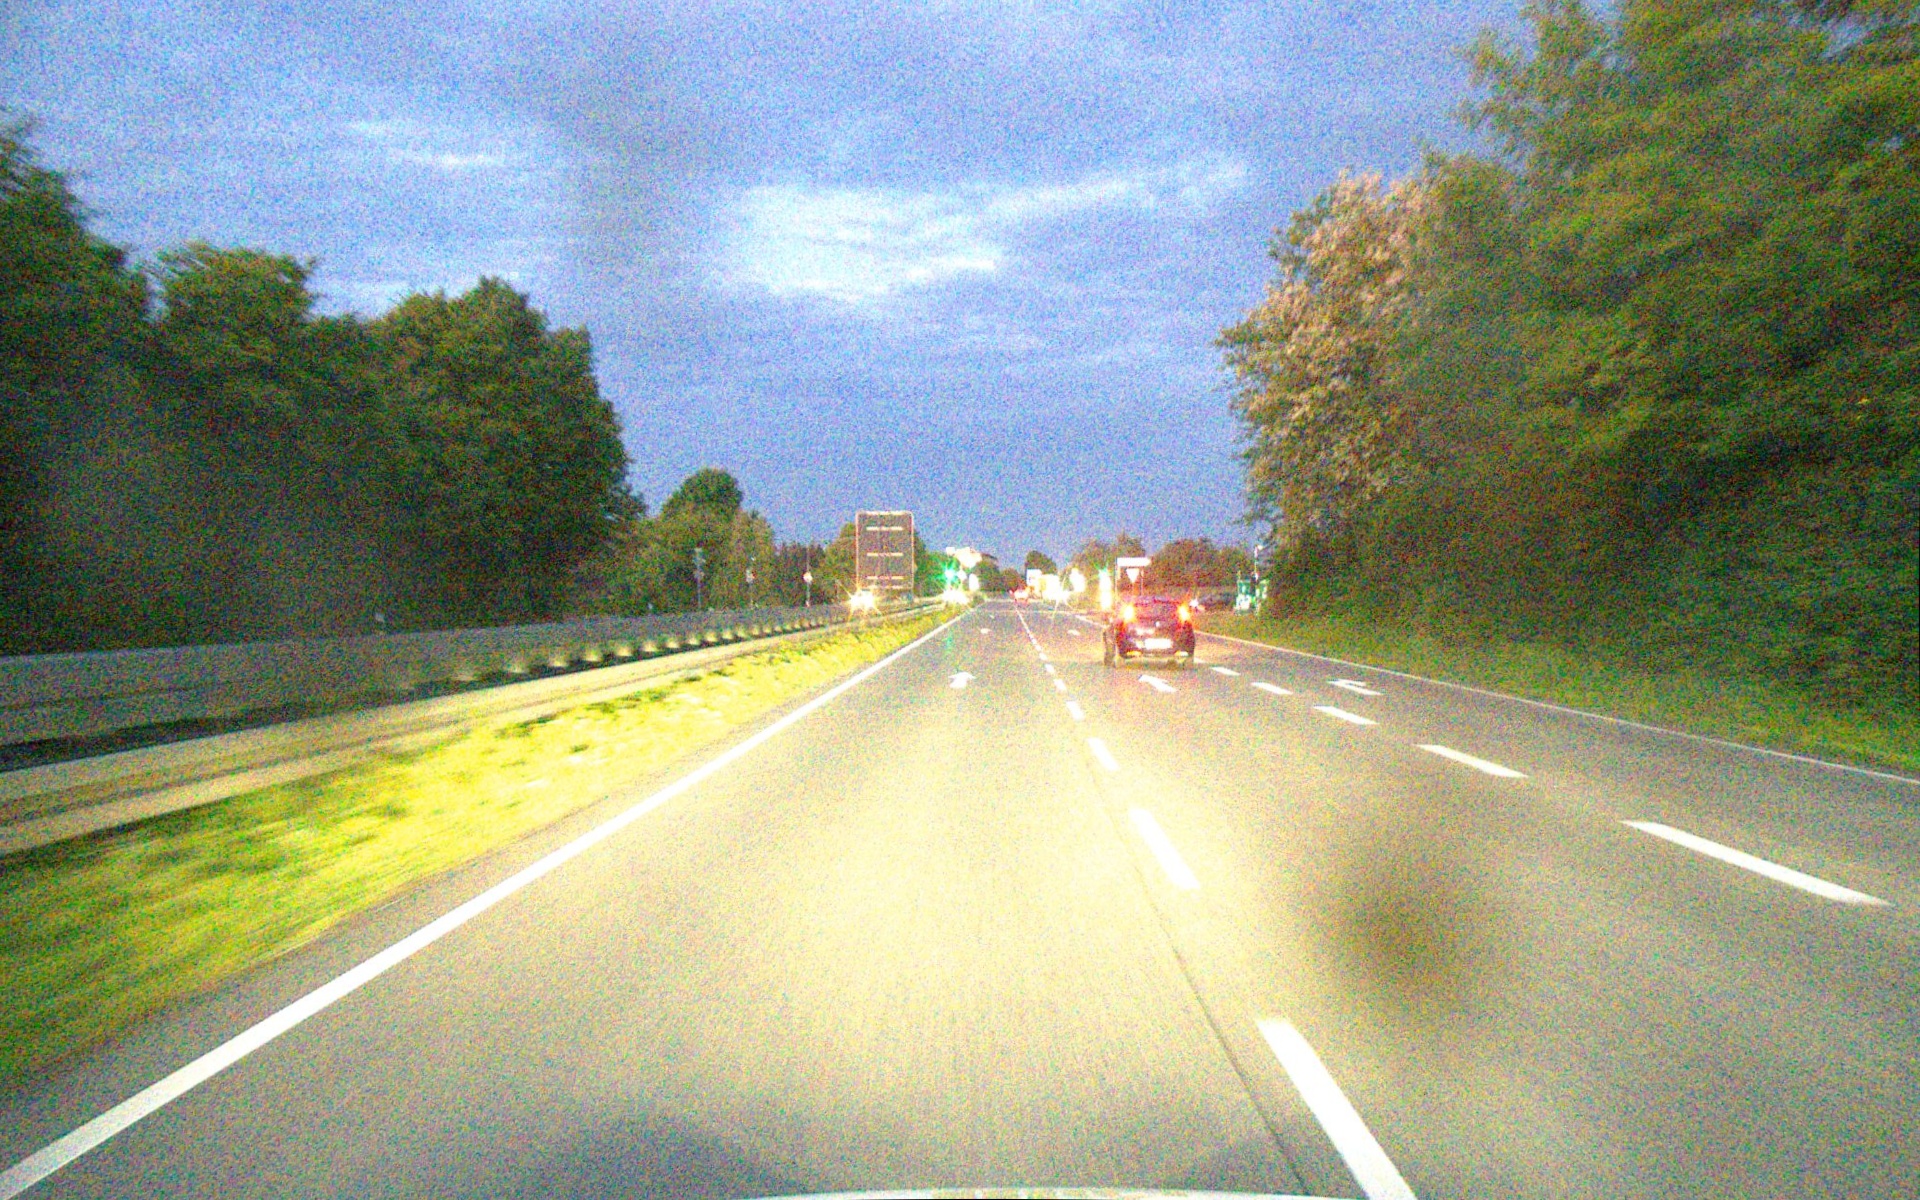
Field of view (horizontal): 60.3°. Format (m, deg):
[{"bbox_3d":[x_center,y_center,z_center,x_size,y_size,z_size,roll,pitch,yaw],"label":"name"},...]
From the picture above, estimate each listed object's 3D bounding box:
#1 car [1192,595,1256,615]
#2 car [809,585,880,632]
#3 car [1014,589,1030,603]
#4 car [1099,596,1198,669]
[{"bbox_3d":[19.734,0.358,123.860,4.619,1.478,2.001,0,0,5],"label":"car"},{"bbox_3d":[-4.131,0.314,60.018,1.952,1.478,4.736,-4,-1,3],"label":"car"},{"bbox_3d":[8.850,-0.620,235.733,1.953,1.780,4.000,-4,-1,0],"label":"car"},{"bbox_3d":[3.998,0.651,35.628,1.717,1.478,4.434,0,0,1],"label":"car"}]
